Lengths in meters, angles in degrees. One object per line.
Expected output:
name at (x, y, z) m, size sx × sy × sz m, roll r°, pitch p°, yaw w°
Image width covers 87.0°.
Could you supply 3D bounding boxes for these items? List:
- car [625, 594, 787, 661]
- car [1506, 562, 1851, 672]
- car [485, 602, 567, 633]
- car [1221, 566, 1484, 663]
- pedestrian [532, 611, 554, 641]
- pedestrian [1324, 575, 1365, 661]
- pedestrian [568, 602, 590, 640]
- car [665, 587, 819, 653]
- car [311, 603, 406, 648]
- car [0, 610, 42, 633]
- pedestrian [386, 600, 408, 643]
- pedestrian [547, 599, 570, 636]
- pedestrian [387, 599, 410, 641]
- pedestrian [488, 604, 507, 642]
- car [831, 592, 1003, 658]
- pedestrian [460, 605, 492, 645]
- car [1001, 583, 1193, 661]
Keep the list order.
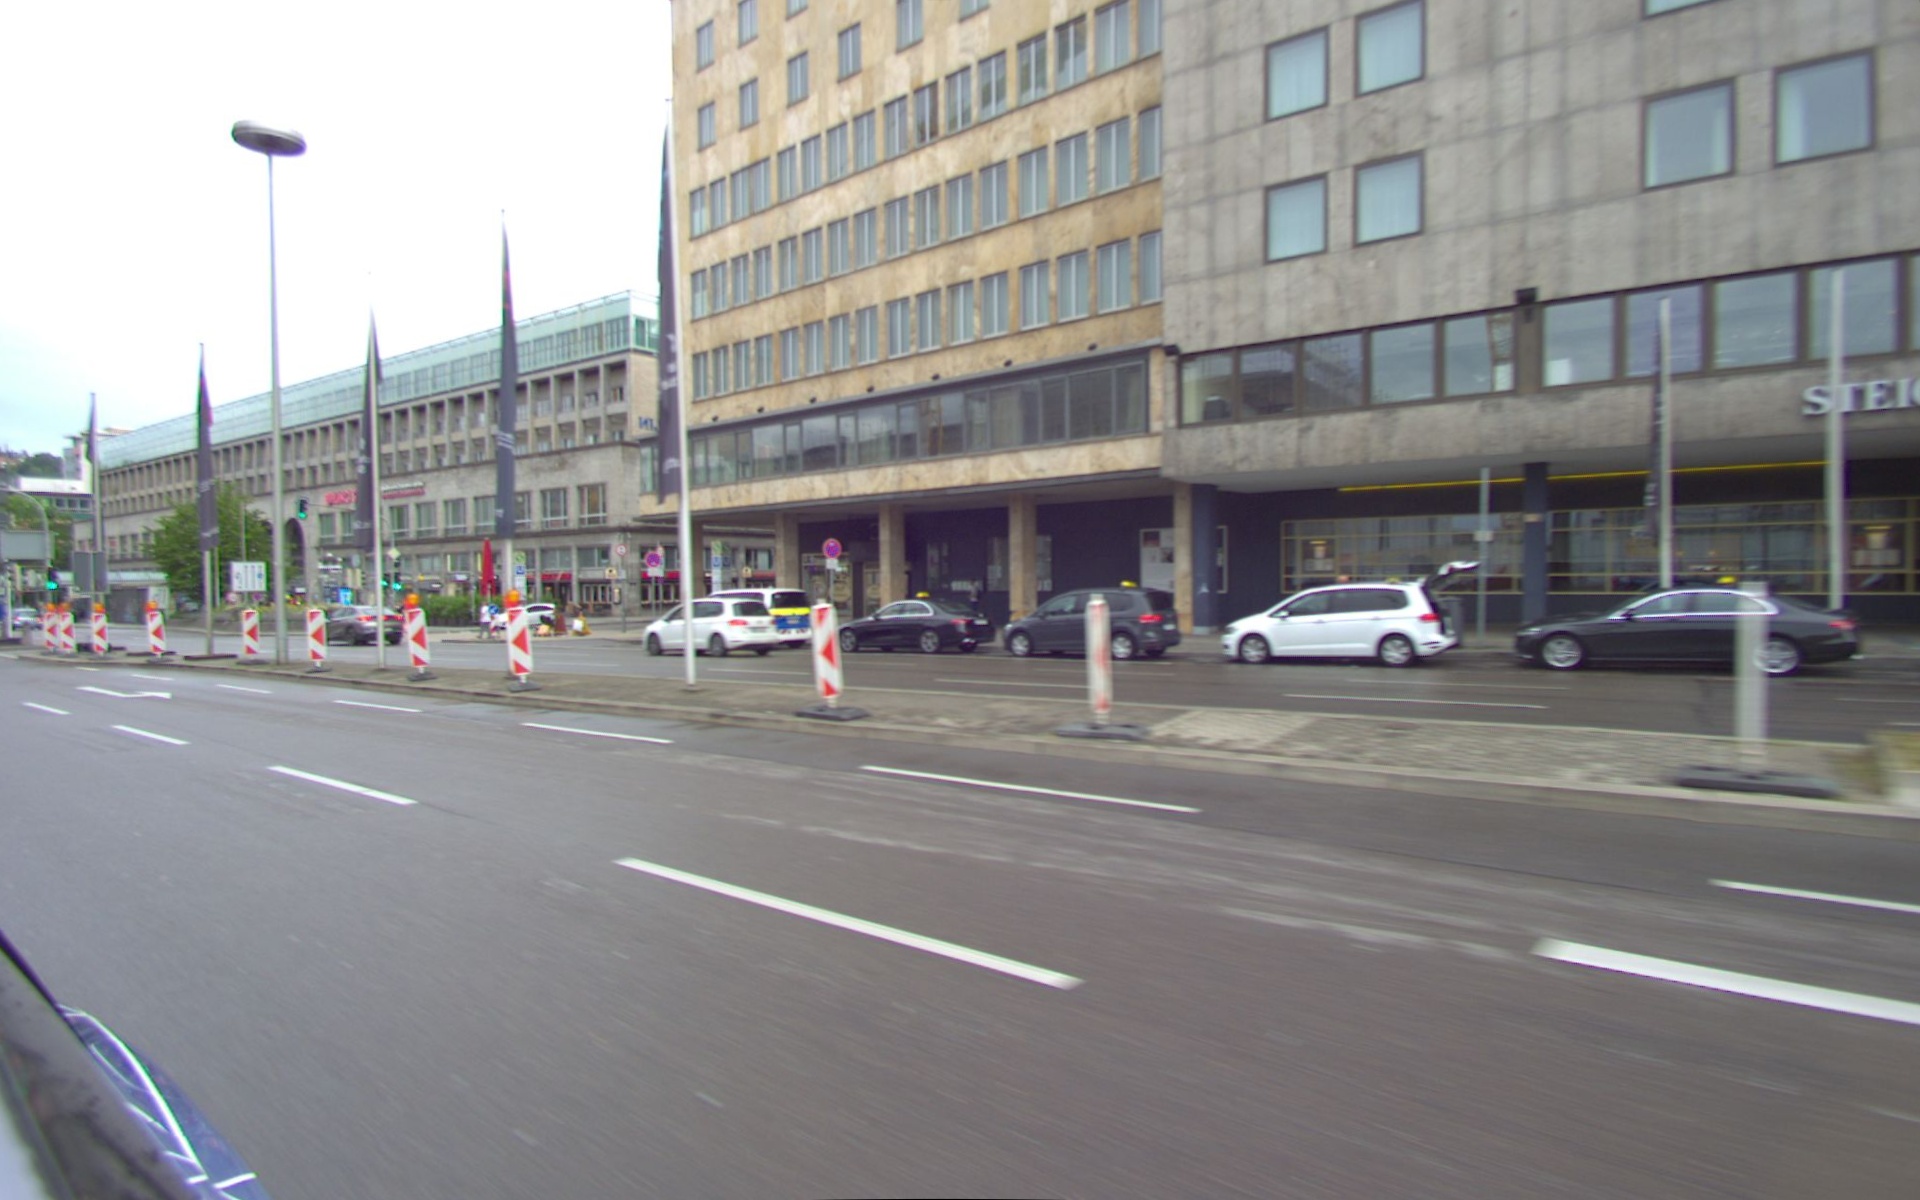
car at (-6.960, 0.722, 27.574) m, size 4.491 × 1.681 × 1.808 m, roll -1°, pitch 0°, yaw 36°
car at (12.173, 0.281, 17.458) m, size 4.608 × 1.672 × 1.885 m, roll -1°, pitch 0°, yaw 37°
car at (-25.531, 1.000, 59.655) m, size 1.805 × 1.652 × 4.038 m, roll -1°, pitch 0°, yaw 41°
car at (7.904, 0.282, 20.592) m, size 4.701 × 1.771 × 1.739 m, roll -1°, pitch 0°, yaw 36°
pedestrian at (-18.491, 1.158, 44.890) m, size 0.751 × 1.301 × 0.558 m, roll -1°, pitch 0°, yaw 35°
pedestrian at (8.277, 0.368, 21.764) m, size 0.657 × 1.794 × 0.615 m, roll 0°, pitch 2°, yaw 37°
pedestrian at (-16.934, 0.924, 44.993) m, size 0.751 × 1.681 × 0.558 m, roll -1°, pitch 0°, yaw 35°
car at (-6.982, 0.666, 32.187) m, size 5.064 × 1.943 × 1.883 m, roll -2°, pitch -1°, yaw 36°
car at (-24.158, 1.012, 40.588) m, size 4.493 × 1.682 × 1.757 m, roll -1°, pitch -1°, yaw 38°
car at (-68.599, 1.540, 73.726) m, size 3.992 × 1.633 × 1.739 m, roll -1°, pitch 0°, yaw 36°
pedestrian at (-25.996, 0.981, 46.752) m, size 0.750 × 1.939 × 0.584 m, roll -1°, pitch 0°, yaw 36°
pedestrian at (-17.811, 0.767, 44.914) m, size 0.674 × 1.604 × 0.663 m, roll -1°, pitch 0°, yaw 14°
pedestrian at (-27.336, 0.970, 49.264) m, size 0.806 × 2.029 × 0.697 m, roll -1°, pitch 0°, yaw 36°
pedestrian at (-20.091, 1.001, 43.944) m, size 0.524 × 1.630 × 0.447 m, roll -1°, pitch 3°, yaw 25°
car at (-1.221, 0.653, 27.483) m, size 4.555 × 1.633 × 1.739 m, roll -1°, pitch 0°, yaw 36°
pedestrian at (-20.658, 1.064, 43.209) m, size 0.785 × 1.630 × 0.832 m, roll -1°, pitch 3°, yaw 26°
car at (3.191, 0.512, 24.005) m, size 4.222 × 1.694 × 1.738 m, roll -2°, pitch 0°, yaw 38°
